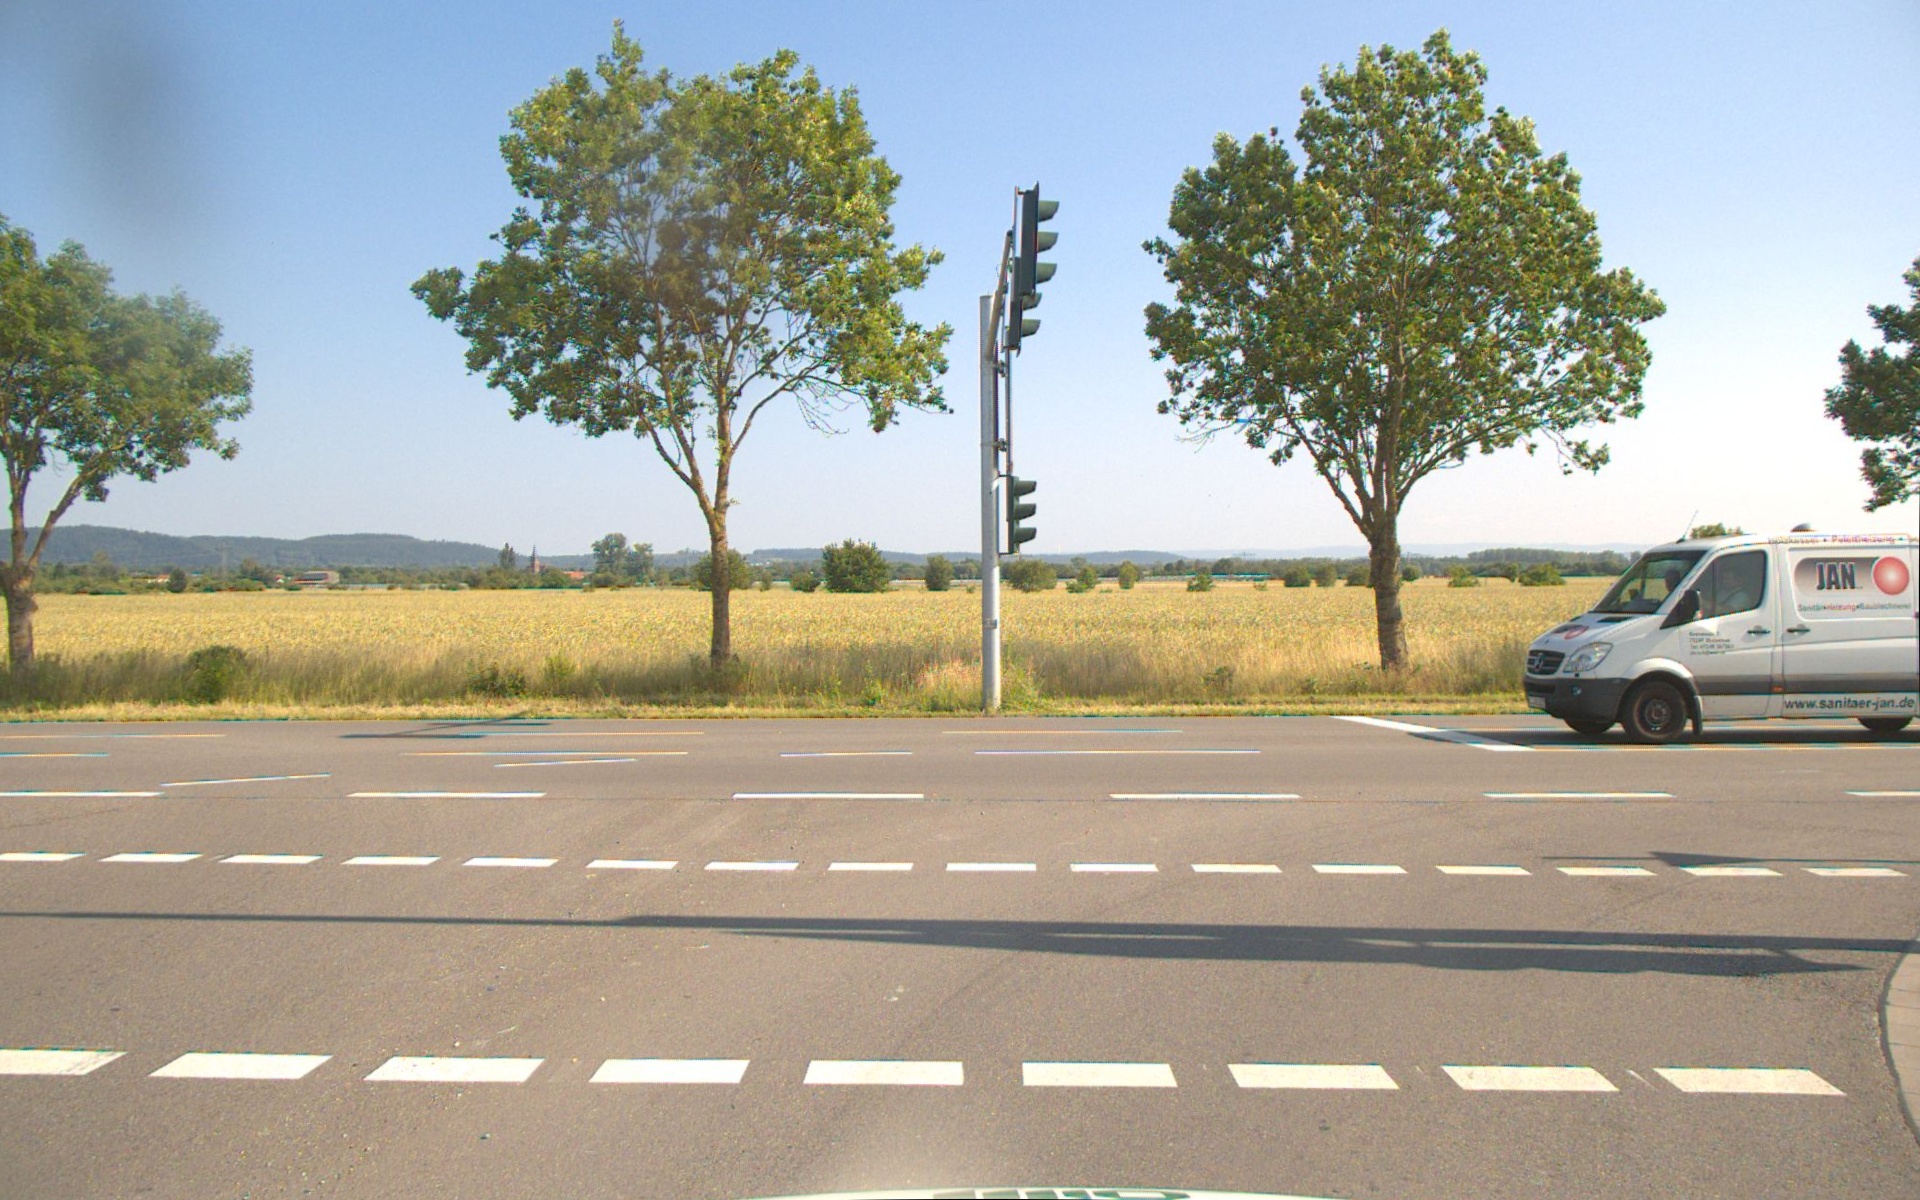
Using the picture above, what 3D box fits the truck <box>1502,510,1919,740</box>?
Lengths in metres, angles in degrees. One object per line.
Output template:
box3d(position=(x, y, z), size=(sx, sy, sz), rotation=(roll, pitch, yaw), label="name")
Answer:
box3d(position=(9.572, 0.266, 18.915), size=(6.053, 2.447, 2.070), rotation=(0, -1, -2), label="truck")
